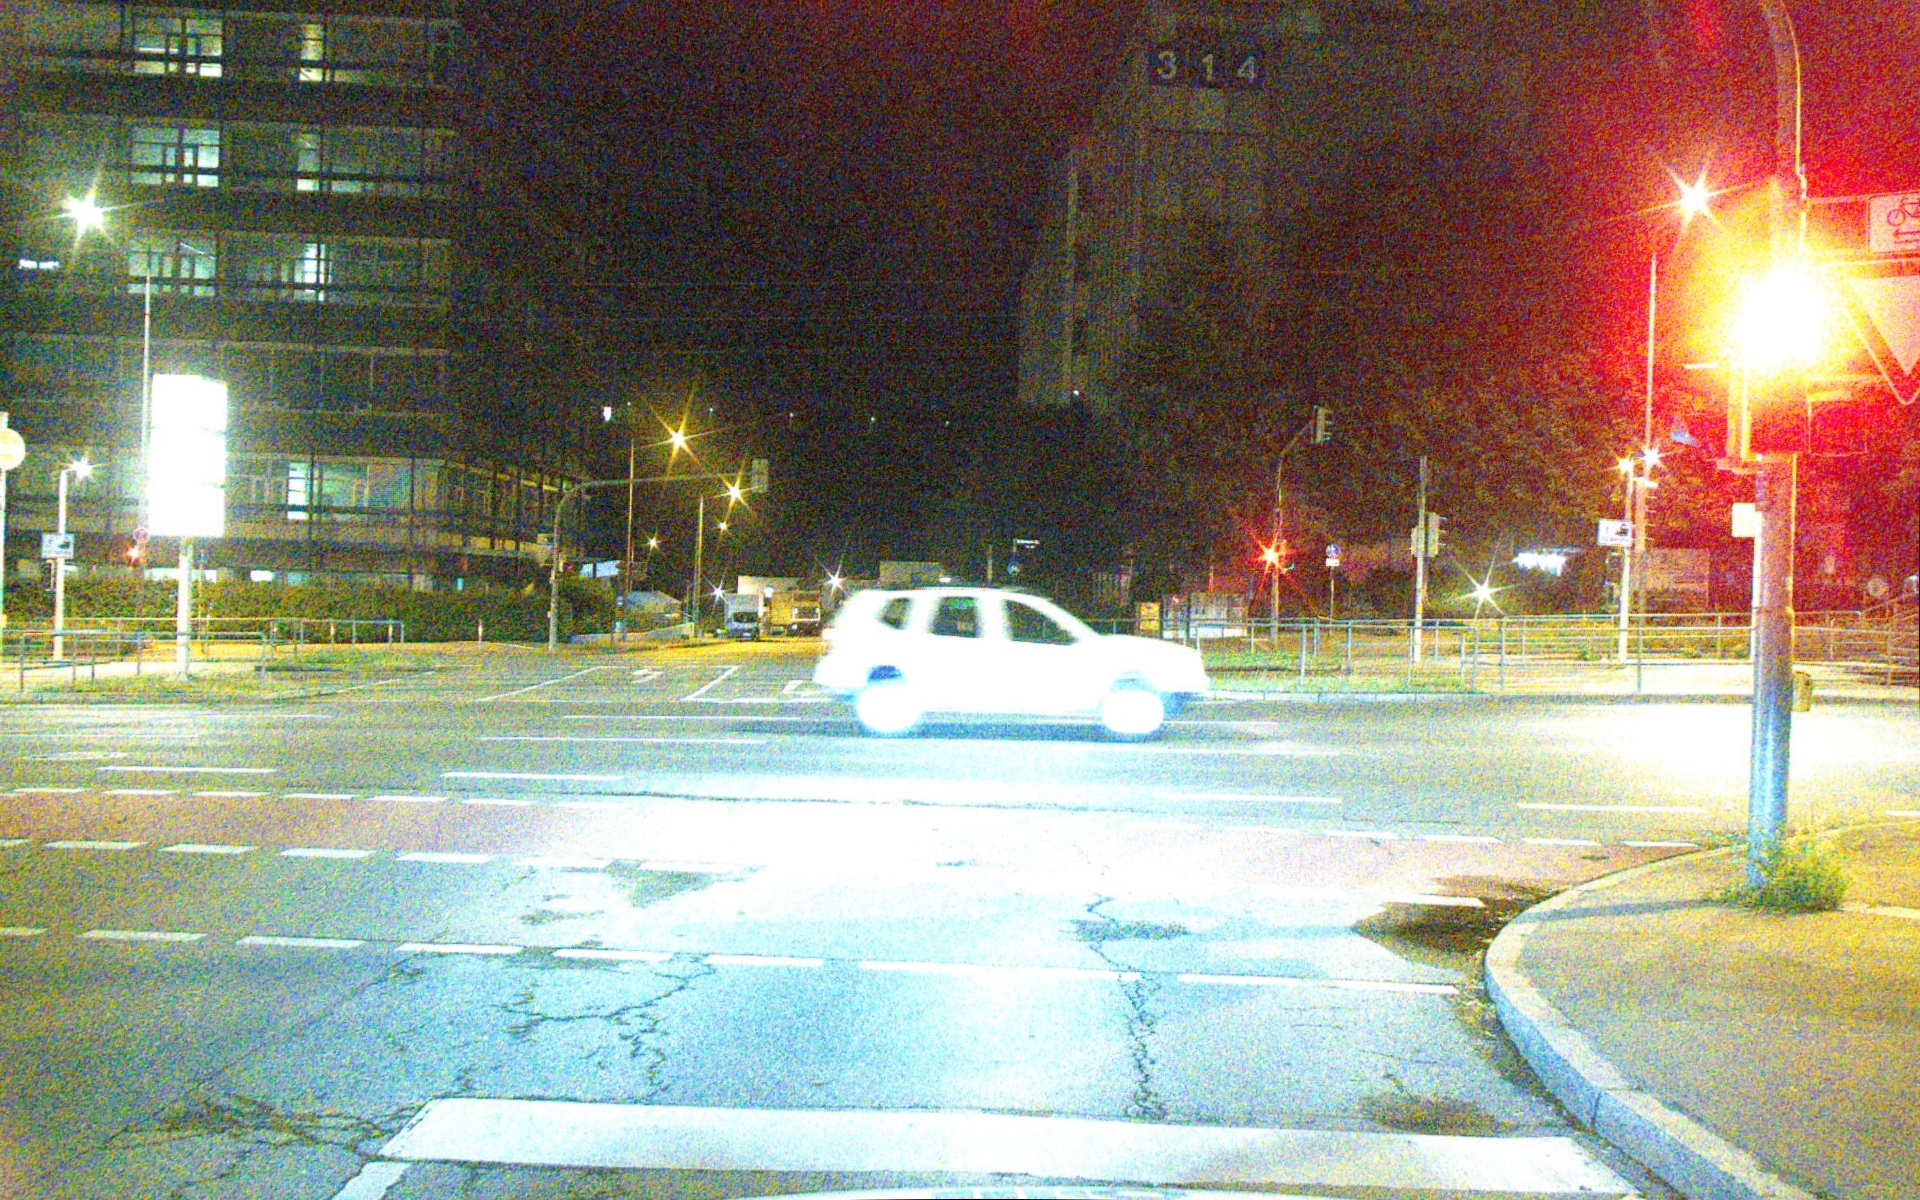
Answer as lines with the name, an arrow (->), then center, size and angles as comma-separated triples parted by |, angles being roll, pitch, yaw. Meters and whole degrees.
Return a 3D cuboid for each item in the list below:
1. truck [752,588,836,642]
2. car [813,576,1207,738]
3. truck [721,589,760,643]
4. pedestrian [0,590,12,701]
truck -> -15.301, 1.311, 150.967 | 4.751, 4.627, 12.593 | 1, 0, -19
car -> 0.566, 0.594, 18.573 | 4.193, 1.712, 1.876 | 0, 1, 2
truck -> -15.811, 1.142, 118.802 | 2.535, 3.772, 5.724 | 1, 0, -10
pedestrian -> -14.808, 0.680, 24.838 | 0.656, 1.663, 0.862 | 1, -1, -5
